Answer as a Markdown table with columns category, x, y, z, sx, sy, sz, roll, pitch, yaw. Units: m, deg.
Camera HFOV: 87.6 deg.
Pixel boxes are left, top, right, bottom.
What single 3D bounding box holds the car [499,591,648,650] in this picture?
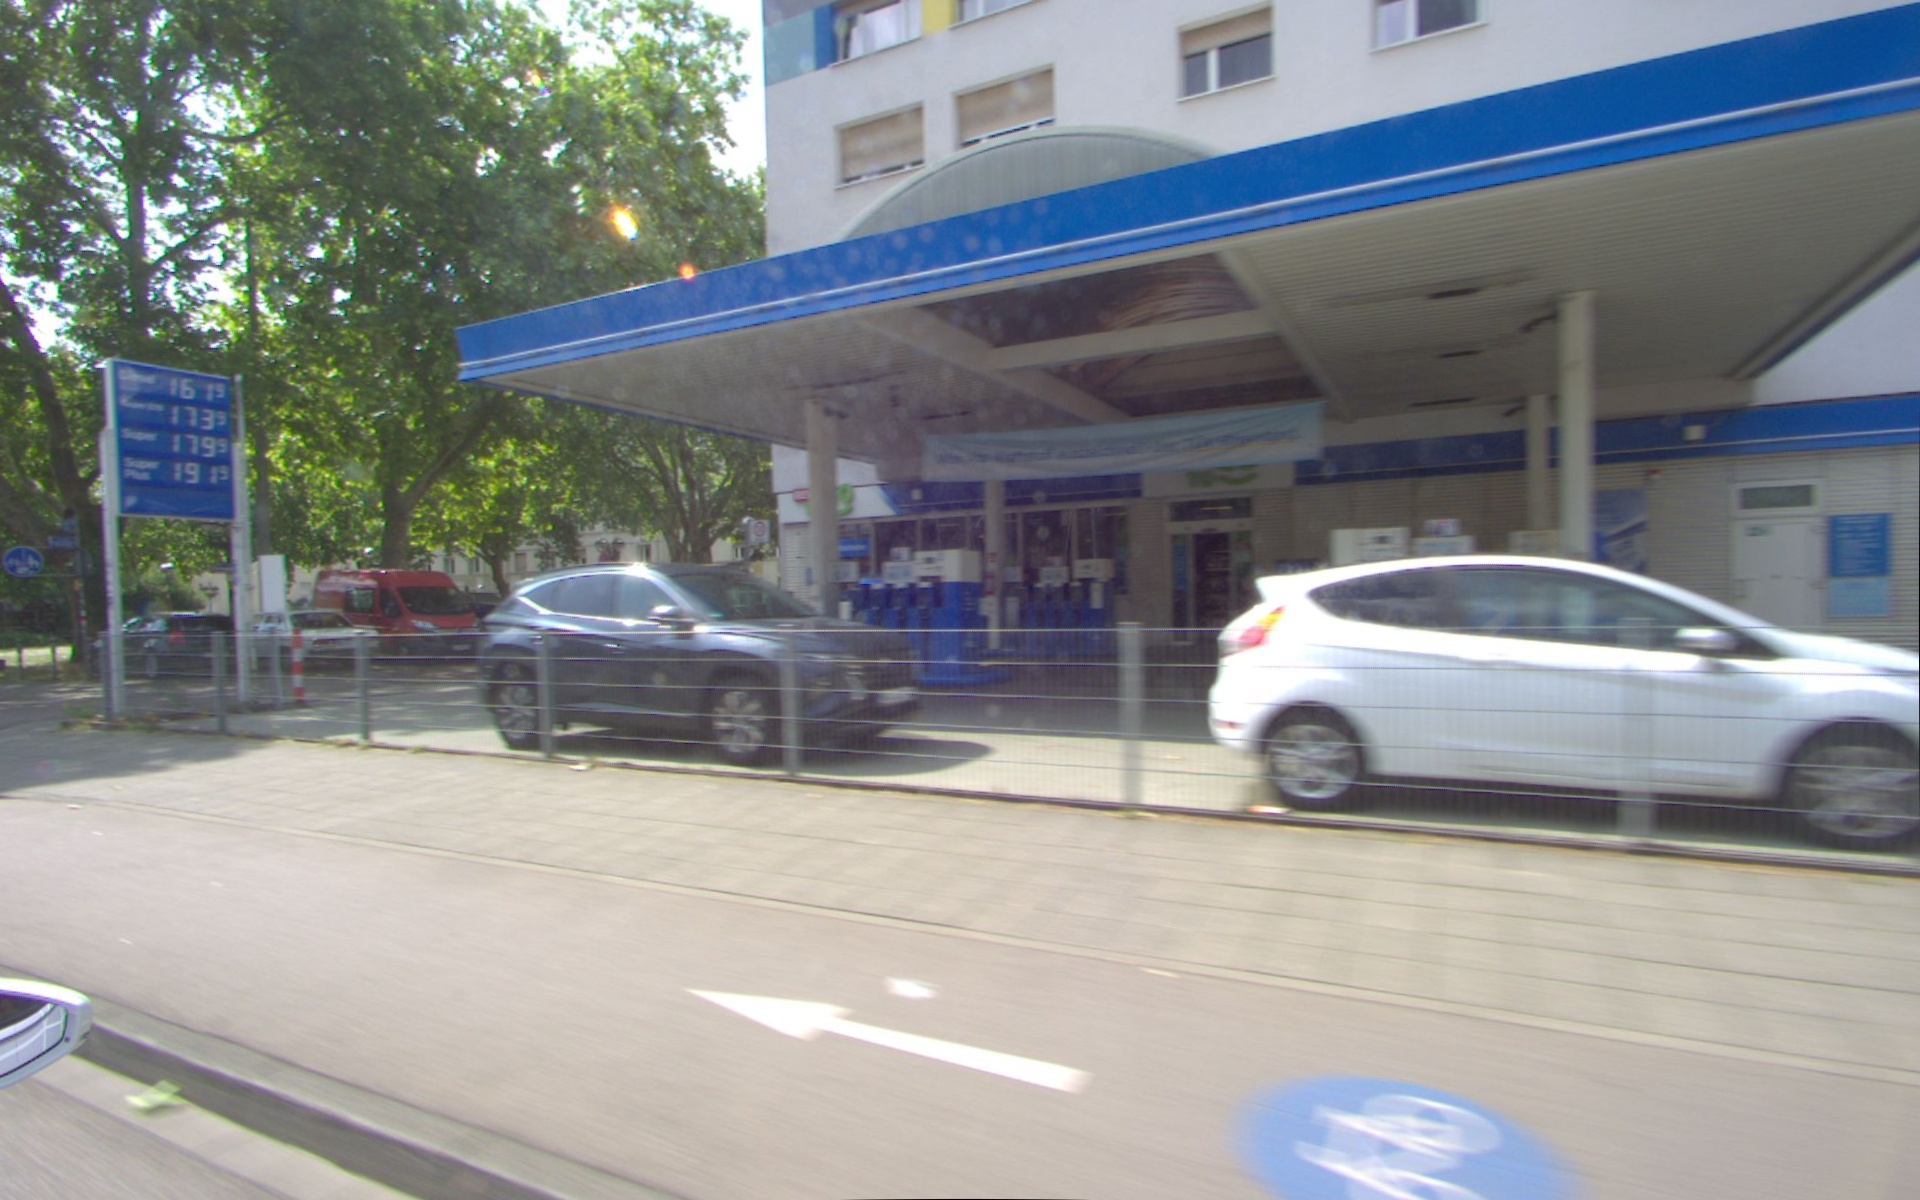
| category | x | y | z | sx | sy | sz | roll | pitch | yaw |
| --- | --- | --- | --- | --- | --- | --- | --- | --- | --- |
| car | -12.368 | 0.650 | 31.993 | 4.582 | 1.777 | 2.004 | -1 | -1 | 30 |

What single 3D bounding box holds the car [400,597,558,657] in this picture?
| category | x | y | z | sx | sy | sz | roll | pitch | yaw |
| --- | --- | --- | --- | --- | --- | --- | --- | --- | --- |
| car | -14.395 | 0.785 | 29.920 | 4.582 | 1.672 | 2.004 | -1 | -1 | 30 |

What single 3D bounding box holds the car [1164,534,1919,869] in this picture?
| category | x | y | z | sx | sy | sz | roll | pitch | yaw |
| --- | --- | --- | --- | --- | --- | --- | --- | --- | --- |
| car | 3.377 | 0.471 | 5.874 | 3.939 | 1.474 | 1.804 | -1 | 0 | 28 |

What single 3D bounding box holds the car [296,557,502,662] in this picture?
| category | x | y | z | sx | sy | sz | roll | pitch | yaw |
| --- | --- | --- | --- | --- | --- | --- | --- | --- | --- |
| car | -15.373 | 0.270 | 27.331 | 5.929 | 2.617 | 2.108 | -1 | 1 | 30 |

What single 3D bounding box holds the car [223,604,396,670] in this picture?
| category | x | y | z | sx | sy | sz | roll | pitch | yaw |
| --- | --- | --- | --- | --- | --- | --- | --- | --- | --- |
| car | -15.925 | 0.881 | 24.514 | 3.976 | 1.490 | 1.648 | -1 | 1 | 25 |

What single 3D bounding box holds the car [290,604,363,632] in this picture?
| category | x | y | z | sx | sy | sz | roll | pitch | yaw |
| --- | --- | --- | --- | --- | --- | --- | --- | --- | --- |
| car | -49.751 | 1.373 | 78.697 | 2.046 | 2.040 | 4.408 | -1 | 0 | 29 |

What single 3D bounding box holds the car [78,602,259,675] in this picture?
| category | x | y | z | sx | sy | sz | roll | pitch | yaw |
| --- | --- | --- | --- | --- | --- | --- | --- | --- | --- |
| car | -17.684 | 0.837 | 22.363 | 3.979 | 1.490 | 1.647 | -1 | 1 | 27 |

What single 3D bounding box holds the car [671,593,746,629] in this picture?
| category | x | y | z | sx | sy | sz | roll | pitch | yaw |
| --- | --- | --- | --- | --- | --- | --- | --- | --- | --- |
| car | -15.111 | 0.631 | 60.416 | 2.045 | 2.040 | 4.250 | -1 | 0 | 28 |

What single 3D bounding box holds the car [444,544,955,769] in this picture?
| category | x | y | z | sx | sy | sz | roll | pitch | yaw |
| --- | --- | --- | --- | --- | --- | --- | --- | --- | --- |
| car | -2.450 | 0.446 | 9.123 | 4.513 | 1.623 | 1.804 | -1 | 0 | 29 |

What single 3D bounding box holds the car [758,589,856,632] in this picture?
| category | x | y | z | sx | sy | sz | roll | pitch | yaw |
| --- | --- | --- | --- | --- | --- | --- | --- | --- | --- |
| car | -6.830 | 0.496 | 44.584 | 3.982 | 1.844 | 1.822 | -1 | -1 | 26 |
